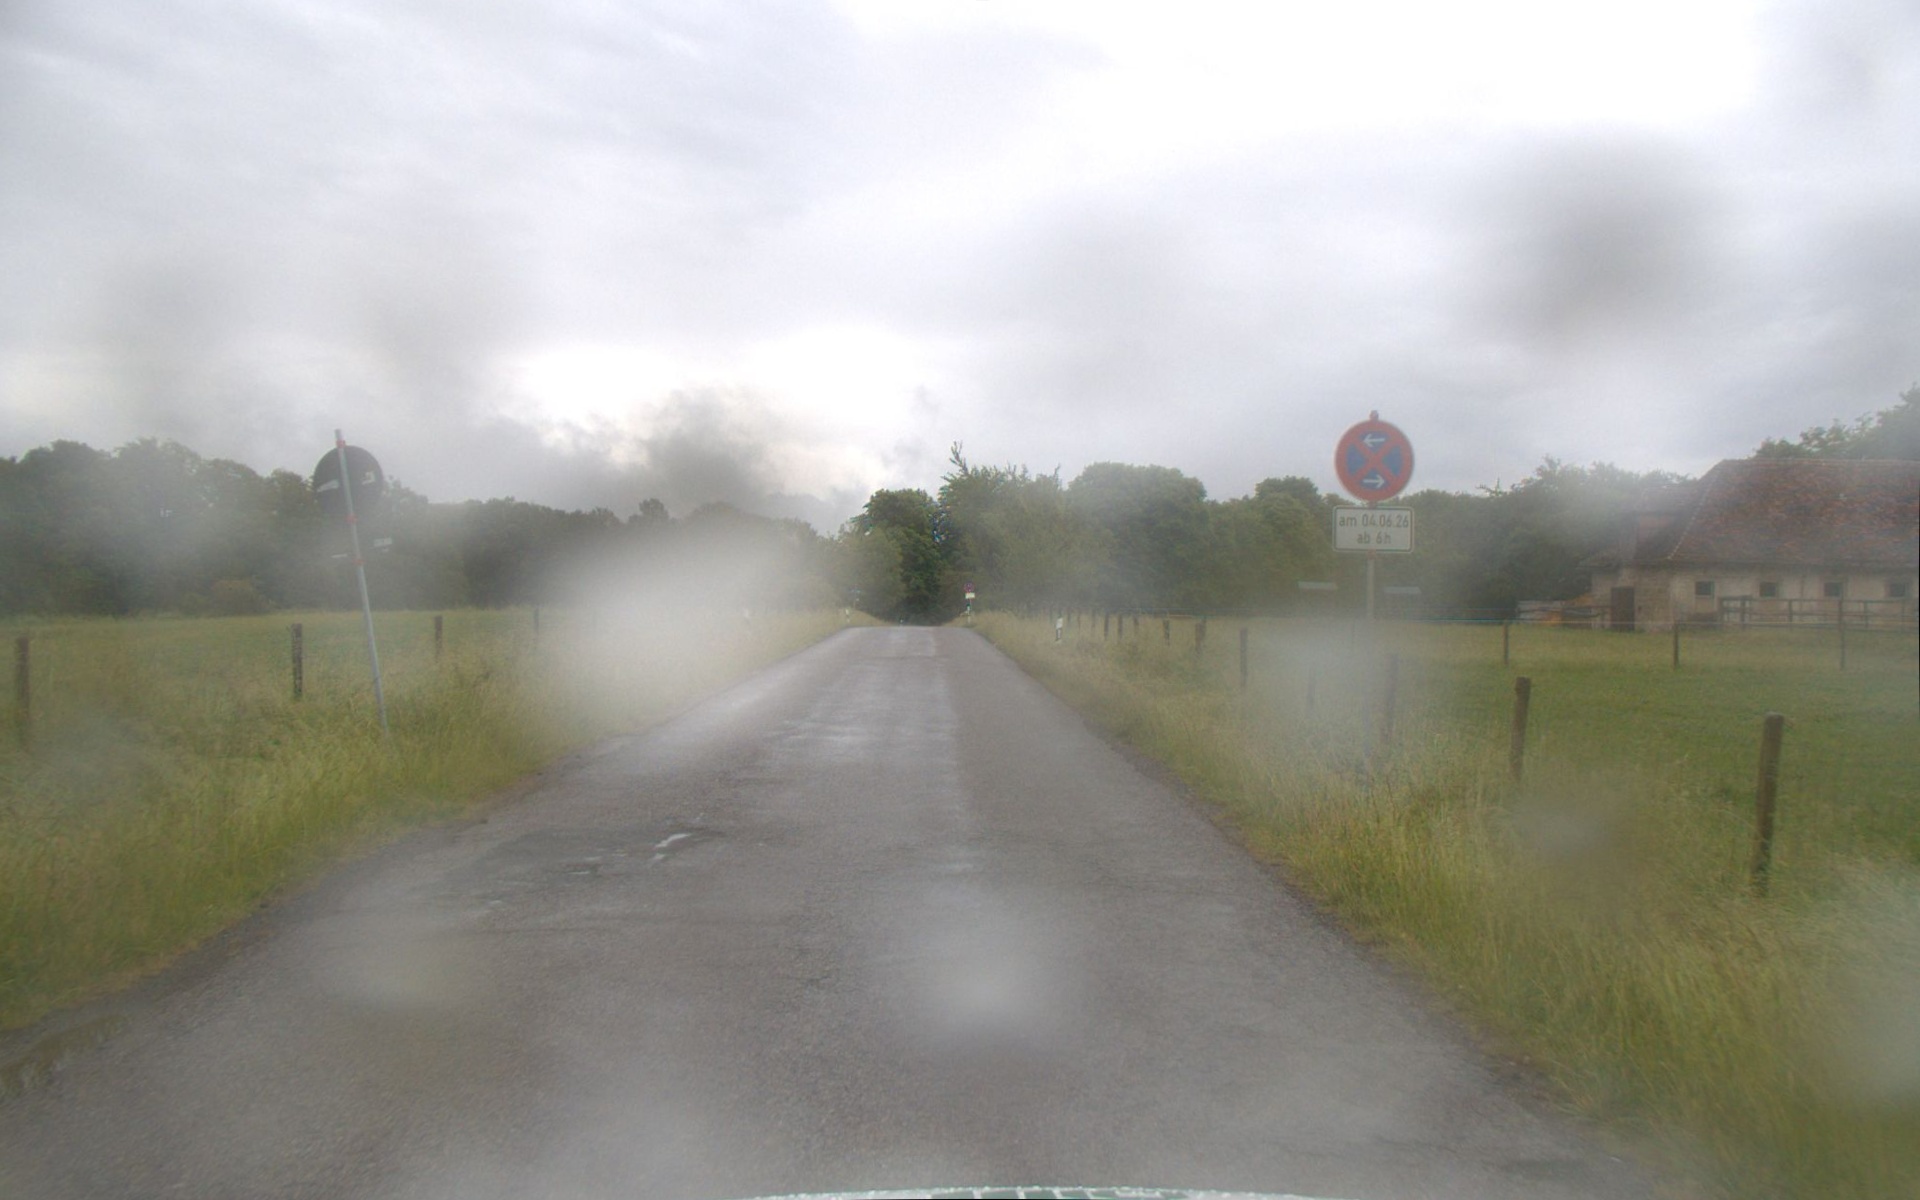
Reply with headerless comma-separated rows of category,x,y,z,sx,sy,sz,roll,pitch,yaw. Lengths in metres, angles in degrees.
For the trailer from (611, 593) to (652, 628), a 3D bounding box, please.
trailer,-14.718,0.476,74.084,1.720,1.531,3.081,0,0,-12
